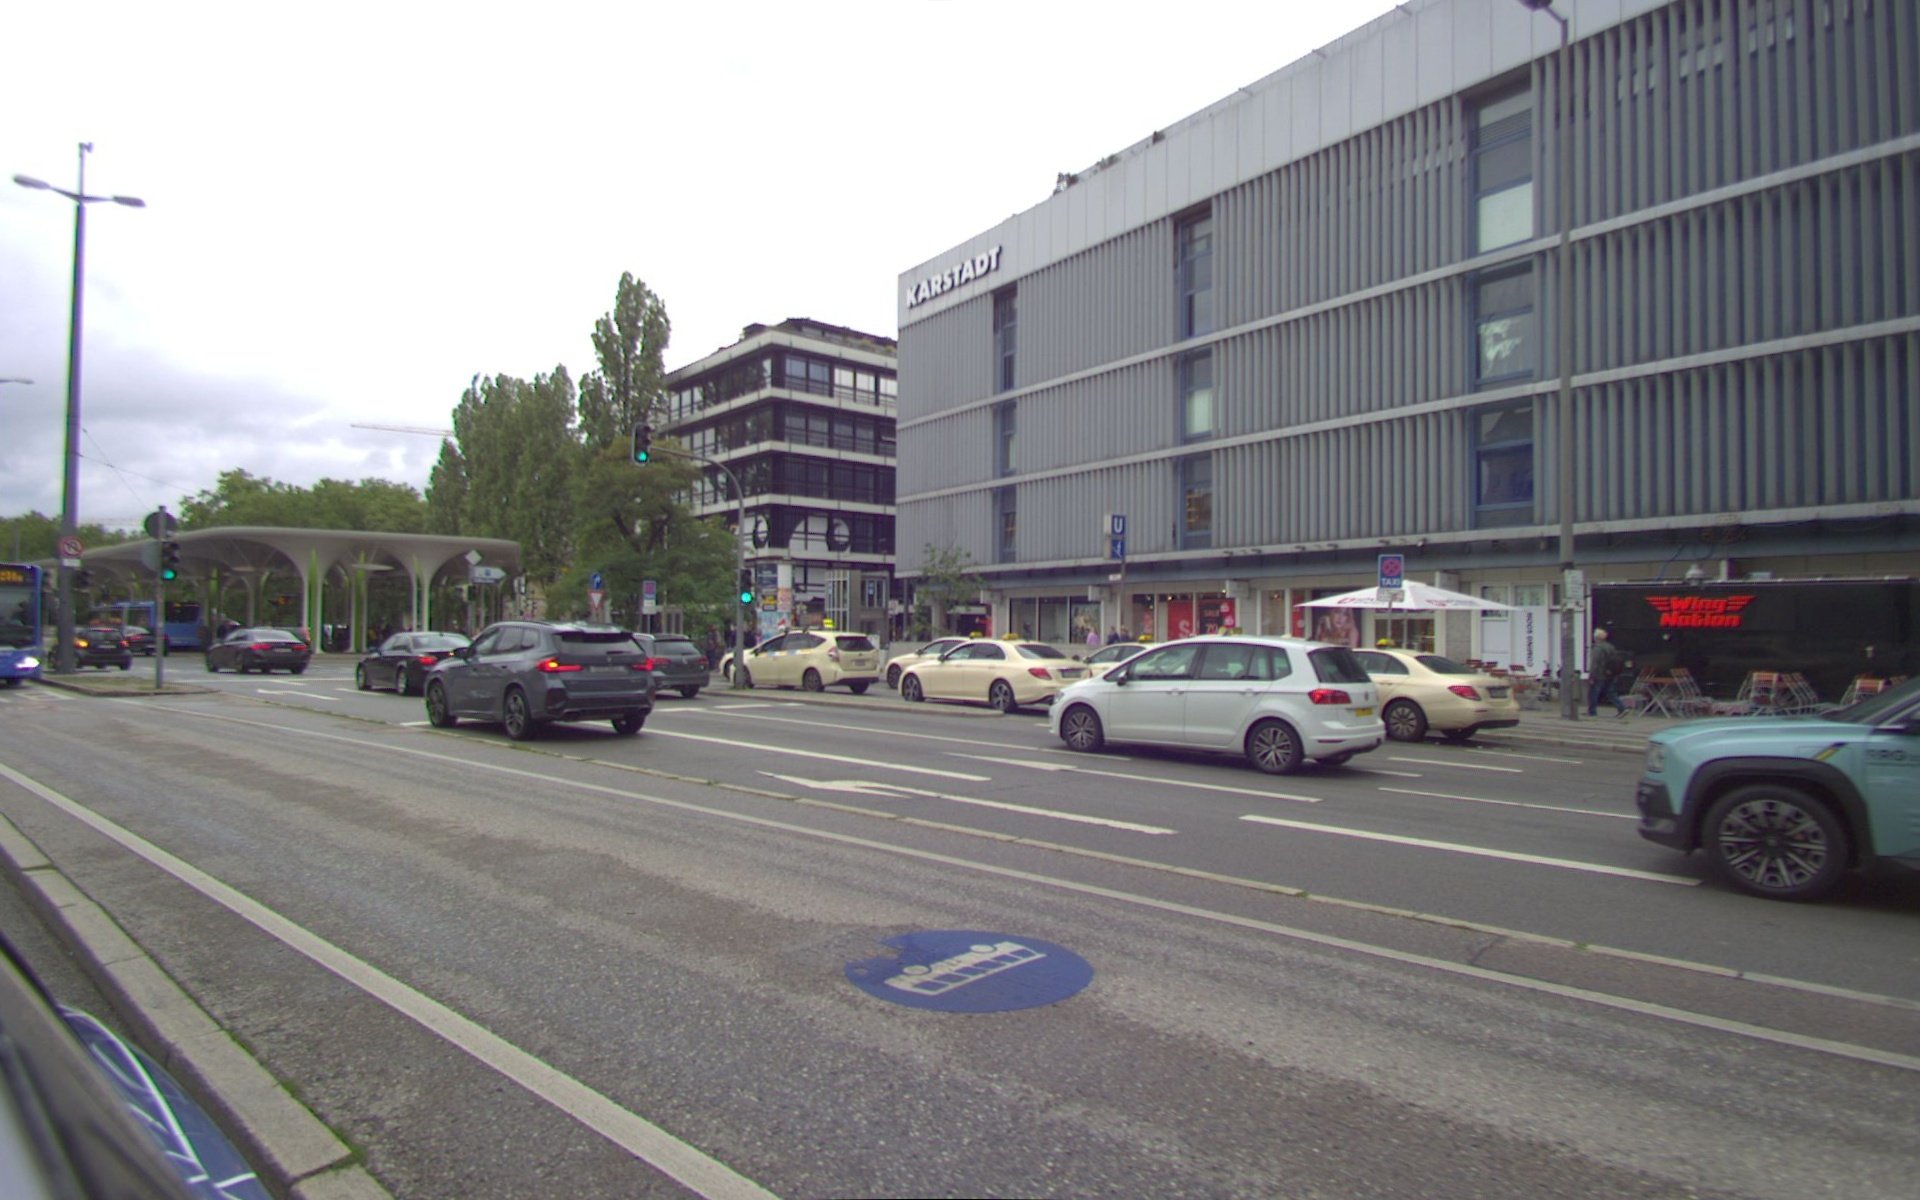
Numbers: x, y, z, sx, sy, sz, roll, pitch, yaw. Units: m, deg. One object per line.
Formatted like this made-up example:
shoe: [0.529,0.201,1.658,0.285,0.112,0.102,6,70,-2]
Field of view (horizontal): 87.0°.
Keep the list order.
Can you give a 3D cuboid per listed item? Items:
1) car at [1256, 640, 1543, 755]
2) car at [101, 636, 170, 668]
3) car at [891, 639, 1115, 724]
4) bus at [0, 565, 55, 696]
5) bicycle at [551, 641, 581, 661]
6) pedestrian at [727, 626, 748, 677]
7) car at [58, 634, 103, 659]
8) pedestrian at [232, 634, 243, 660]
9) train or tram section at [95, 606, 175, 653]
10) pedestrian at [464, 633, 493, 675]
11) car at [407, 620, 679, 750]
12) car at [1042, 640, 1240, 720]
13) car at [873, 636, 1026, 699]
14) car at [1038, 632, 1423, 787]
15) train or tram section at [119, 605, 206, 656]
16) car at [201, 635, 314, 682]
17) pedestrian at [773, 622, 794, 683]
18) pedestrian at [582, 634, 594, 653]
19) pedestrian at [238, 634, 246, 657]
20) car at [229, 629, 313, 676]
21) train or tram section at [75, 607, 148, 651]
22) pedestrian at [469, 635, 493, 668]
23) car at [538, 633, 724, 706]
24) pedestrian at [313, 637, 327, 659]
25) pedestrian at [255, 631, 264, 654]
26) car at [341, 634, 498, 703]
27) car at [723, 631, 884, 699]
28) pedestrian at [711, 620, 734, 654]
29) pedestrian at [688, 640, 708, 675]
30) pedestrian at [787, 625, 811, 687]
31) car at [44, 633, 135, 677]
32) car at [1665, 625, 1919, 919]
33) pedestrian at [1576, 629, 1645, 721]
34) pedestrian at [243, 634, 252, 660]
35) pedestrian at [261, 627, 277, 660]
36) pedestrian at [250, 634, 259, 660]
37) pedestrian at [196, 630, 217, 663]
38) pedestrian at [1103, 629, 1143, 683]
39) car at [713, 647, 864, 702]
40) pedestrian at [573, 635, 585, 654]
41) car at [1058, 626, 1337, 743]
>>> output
car: [7.141,1.503,16.763,1.750,1.628,4.006,3,-3,-41]
car: [-43.830,2.738,53.783,4.612,1.589,1.973,-2,-3,40]
car: [0.753,1.586,21.083,1.921,1.552,4.855,2,-3,-40]
bus: [-26.343,0.742,25.977,11.201,2.966,2.905,-1,-1,39]
bicycle: [-22.789,2.954,58.497,1.660,1.106,0.470,0,-2,17]
pedestrian: [-7.958,1.851,36.241,0.510,1.792,0.555,-1,-1,43]
car: [-55.611,2.920,63.957,2.744,1.527,1.653,-2,-3,39]
pedestrian: [-42.817,2.771,59.976,0.419,1.514,0.491,1,-3,-24]
train or tram section: [-55.409,2.015,67.922,7.402,3.024,2.804,-2,-3,40]
pedestrian: [-18.185,2.037,38.225,0.754,1.563,0.636,-1,-1,15]
car: [-6.238,1.161,14.910,4.412,1.633,1.972,-2,-4,42]
car: [3.806,1.648,21.825,1.730,1.548,4.005,2,-3,-41]
car: [-0.332,1.772,27.606,4.000,1.579,1.886,-2,-3,43]
car: [3.278,1.226,12.790,4.289,1.612,1.972,-2,-3,43]
train or tram section: [-49.794,1.930,63.095,7.402,3.024,2.804,-2,-3,40]
car: [-24.274,1.974,34.909,5.018,1.519,1.973,-2,-3,41]
pedestrian: [-4.913,1.444,28.178,0.425,1.668,0.360,-1,-1,40]
pedestrian: [-34.178,4.022,92.946,0.788,1.737,0.828,2,-3,-38]
pedestrian: [-42.375,2.694,59.704,0.312,1.353,0.340,2,-3,-33]
car: [-28.168,2.104,41.308,4.601,1.791,1.971,-2,-3,45]
train or tram section: [-61.034,2.096,72.742,7.402,3.024,2.804,-2,-3,40]
pedestrian: [-26.919,2.879,56.851,0.980,1.791,0.850,-2,-3,41]
car: [-7.842,1.565,23.887,4.946,1.558,1.938,-2,-3,42]
pedestrian: [-39.123,2.920,61.870,0.591,1.348,0.542,-2,-3,40]
pedestrian: [-41.769,2.529,60.338,0.270,1.387,0.299,-2,-3,38]
car: [-13.002,1.577,24.215,4.733,1.498,1.816,-2,-3,42]
car: [-4.103,1.624,26.147,4.473,1.624,1.570,-2,-3,40]
pedestrian: [-9.433,1.462,40.251,0.773,1.318,0.537,-2,-3,41]
pedestrian: [-13.354,2.928,51.601,0.647,1.748,0.757,-1,-3,33]
pedestrian: [-4.560,1.578,28.684,0.428,1.742,0.518,-1,-1,40]
car: [-31.409,1.963,36.509,2.775,1.518,1.547,-1,-2,28]
car: [6.366,0.952,5.460,3.999,1.557,1.797,-2,-5,43]
pedestrian: [13.123,1.499,20.428,0.778,1.819,0.820,1,-3,-18]
pedestrian: [-42.404,2.800,60.223,0.316,1.514,0.317,-1,-3,31]
pedestrian: [-39.414,2.494,57.707,0.656,1.865,0.790,2,-3,-30]
pedestrian: [-42.110,2.806,60.418,0.316,1.514,0.331,-1,-3,31]
pedestrian: [-40.709,2.513,54.665,0.787,1.762,0.702,-2,-3,40]
pedestrian: [4.751,1.632,29.584,0.722,1.557,0.901,2,-3,-36]
car: [-5.224,2.213,30.780,4.276,1.522,1.843,-1,-3,27]
pedestrian: [-34.750,4.021,92.199,0.788,1.737,0.828,2,-3,-38]
car: [3.878,1.343,17.151,1.861,1.711,4.391,4,-4,-38]
